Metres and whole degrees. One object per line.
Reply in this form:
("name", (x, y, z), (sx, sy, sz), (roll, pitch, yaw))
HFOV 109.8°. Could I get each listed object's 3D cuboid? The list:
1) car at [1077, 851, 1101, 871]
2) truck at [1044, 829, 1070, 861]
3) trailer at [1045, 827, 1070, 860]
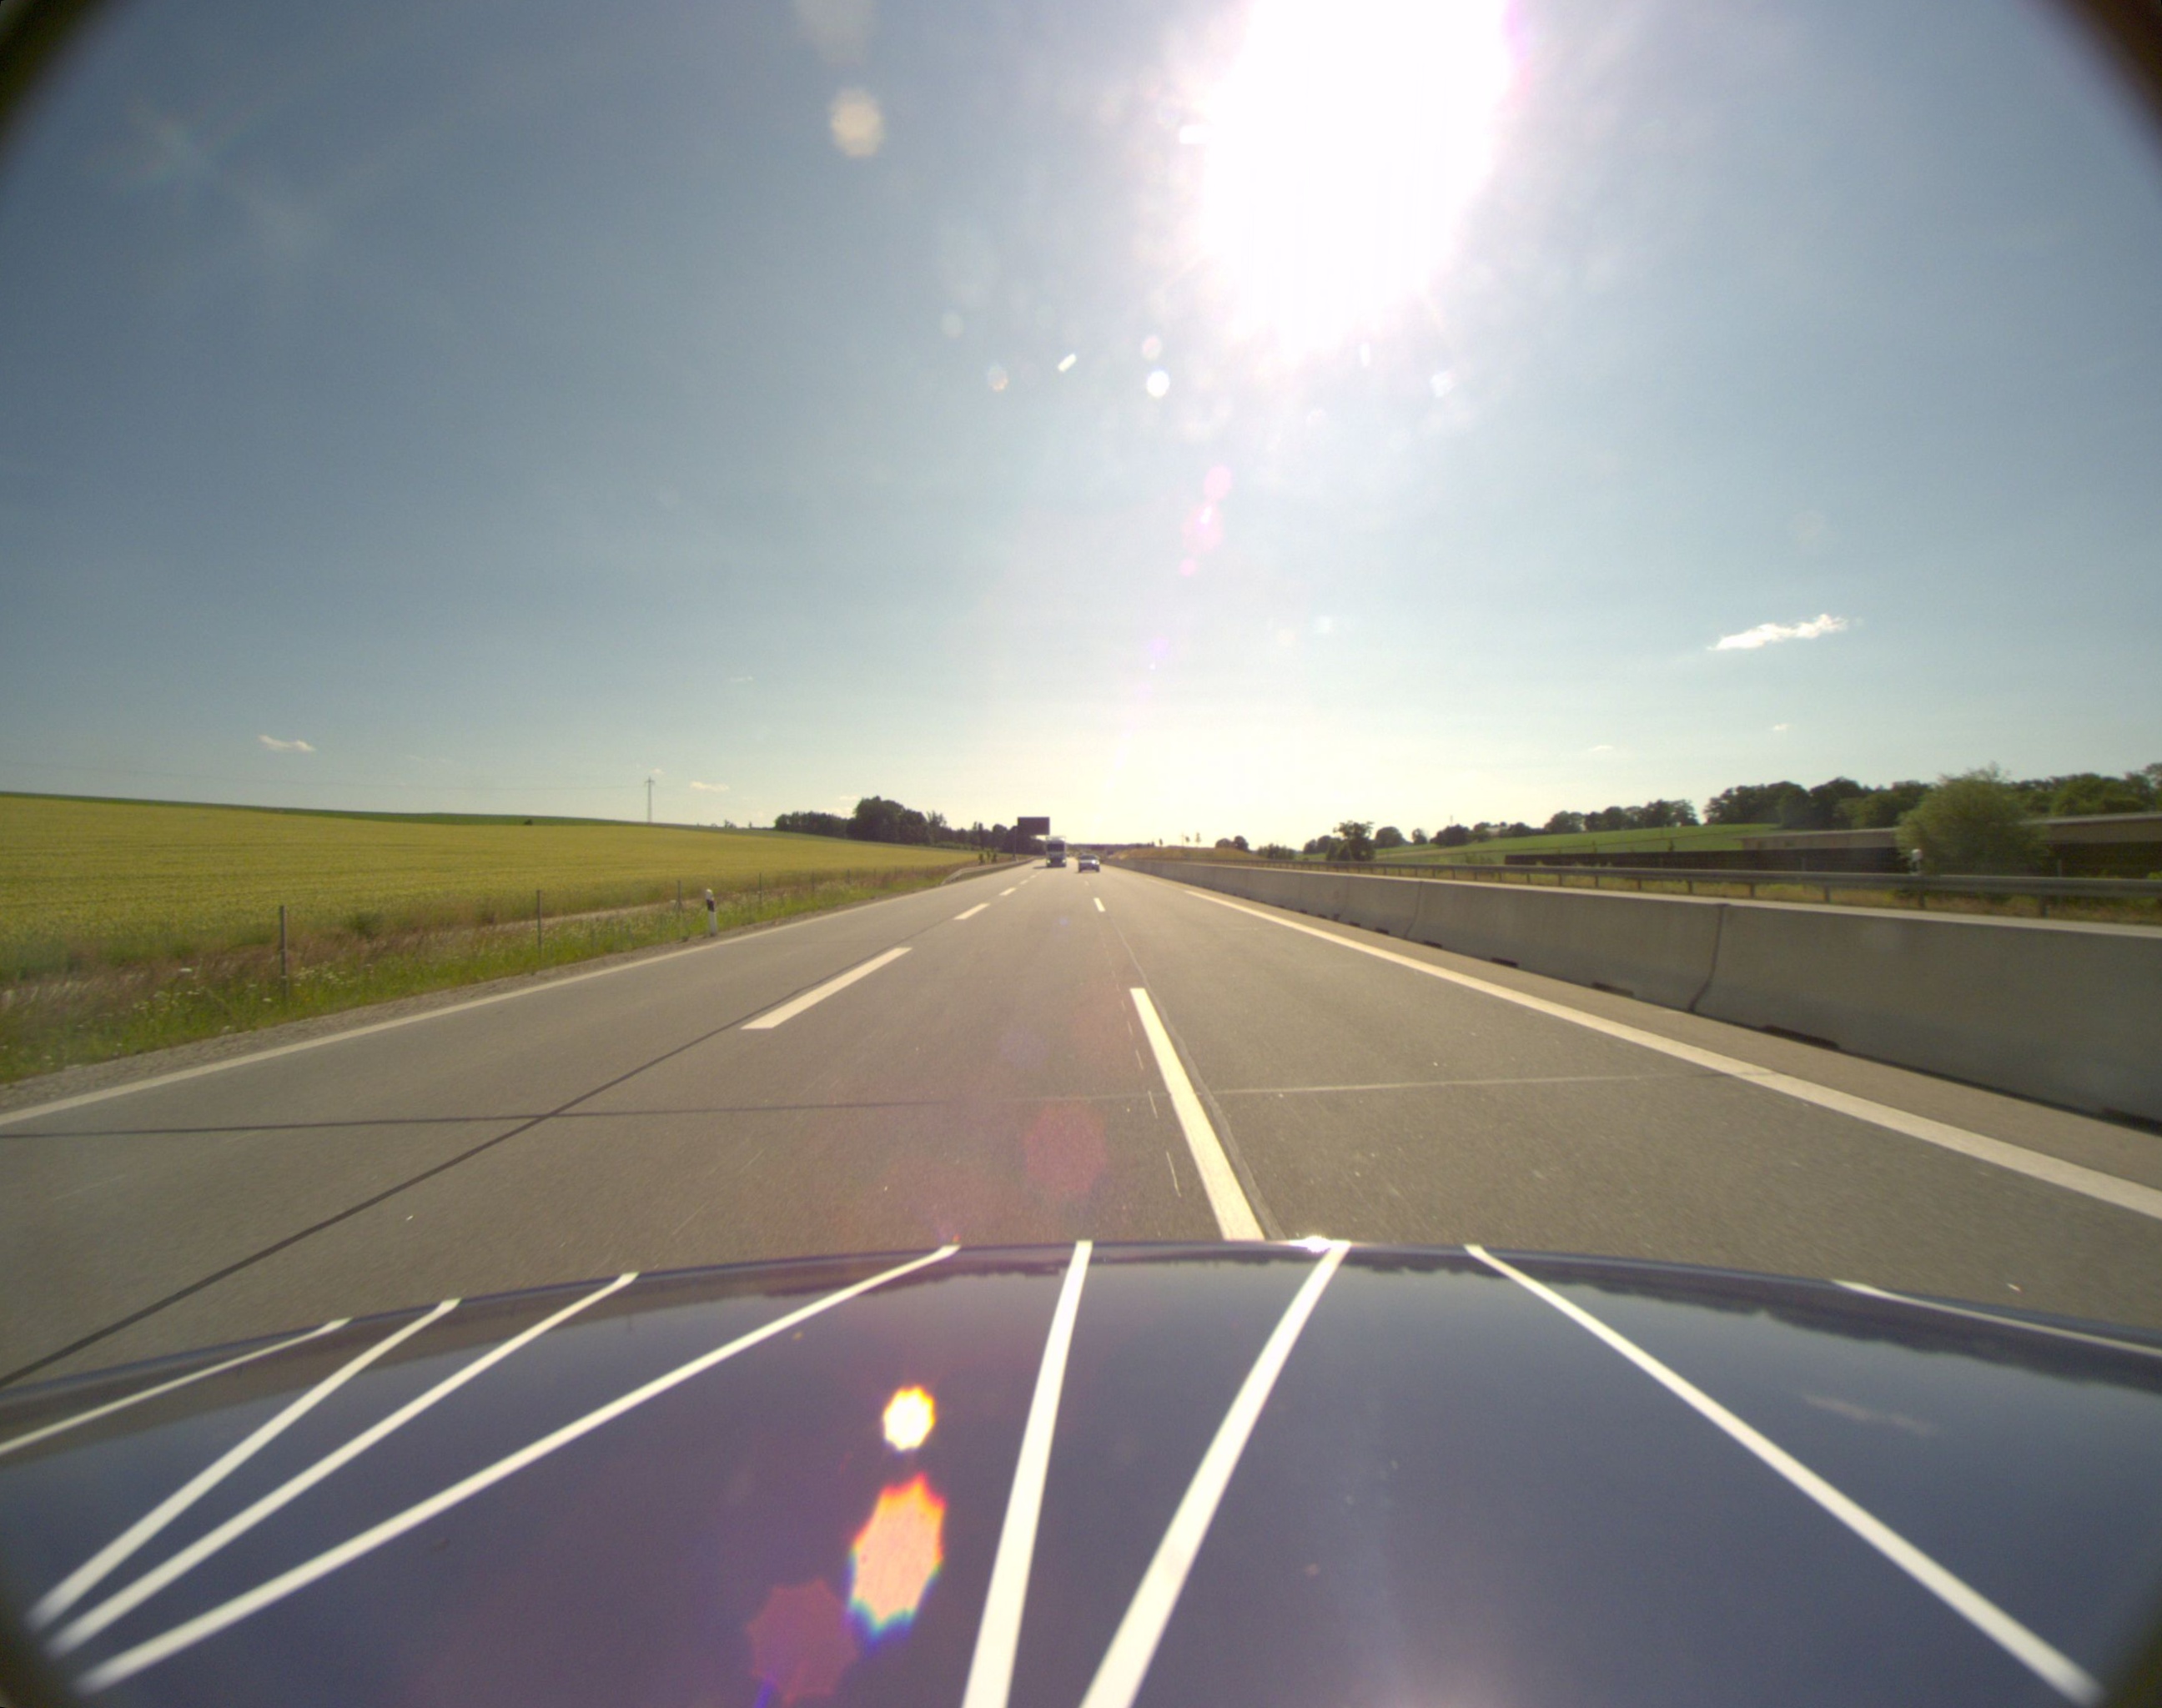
("car", (0.726, 0.593, 66.483), (1.891, 1.565, 3.793), (-3, 0, 4))
("truck", (-3.026, -1.130, 97.688), (3.090, 3.991, 6.188), (0, 1, -1))
("trailer", (-3.178, -1.395, 105.948), (3.185, 4.269, 15.456), (0, 0, -1))
